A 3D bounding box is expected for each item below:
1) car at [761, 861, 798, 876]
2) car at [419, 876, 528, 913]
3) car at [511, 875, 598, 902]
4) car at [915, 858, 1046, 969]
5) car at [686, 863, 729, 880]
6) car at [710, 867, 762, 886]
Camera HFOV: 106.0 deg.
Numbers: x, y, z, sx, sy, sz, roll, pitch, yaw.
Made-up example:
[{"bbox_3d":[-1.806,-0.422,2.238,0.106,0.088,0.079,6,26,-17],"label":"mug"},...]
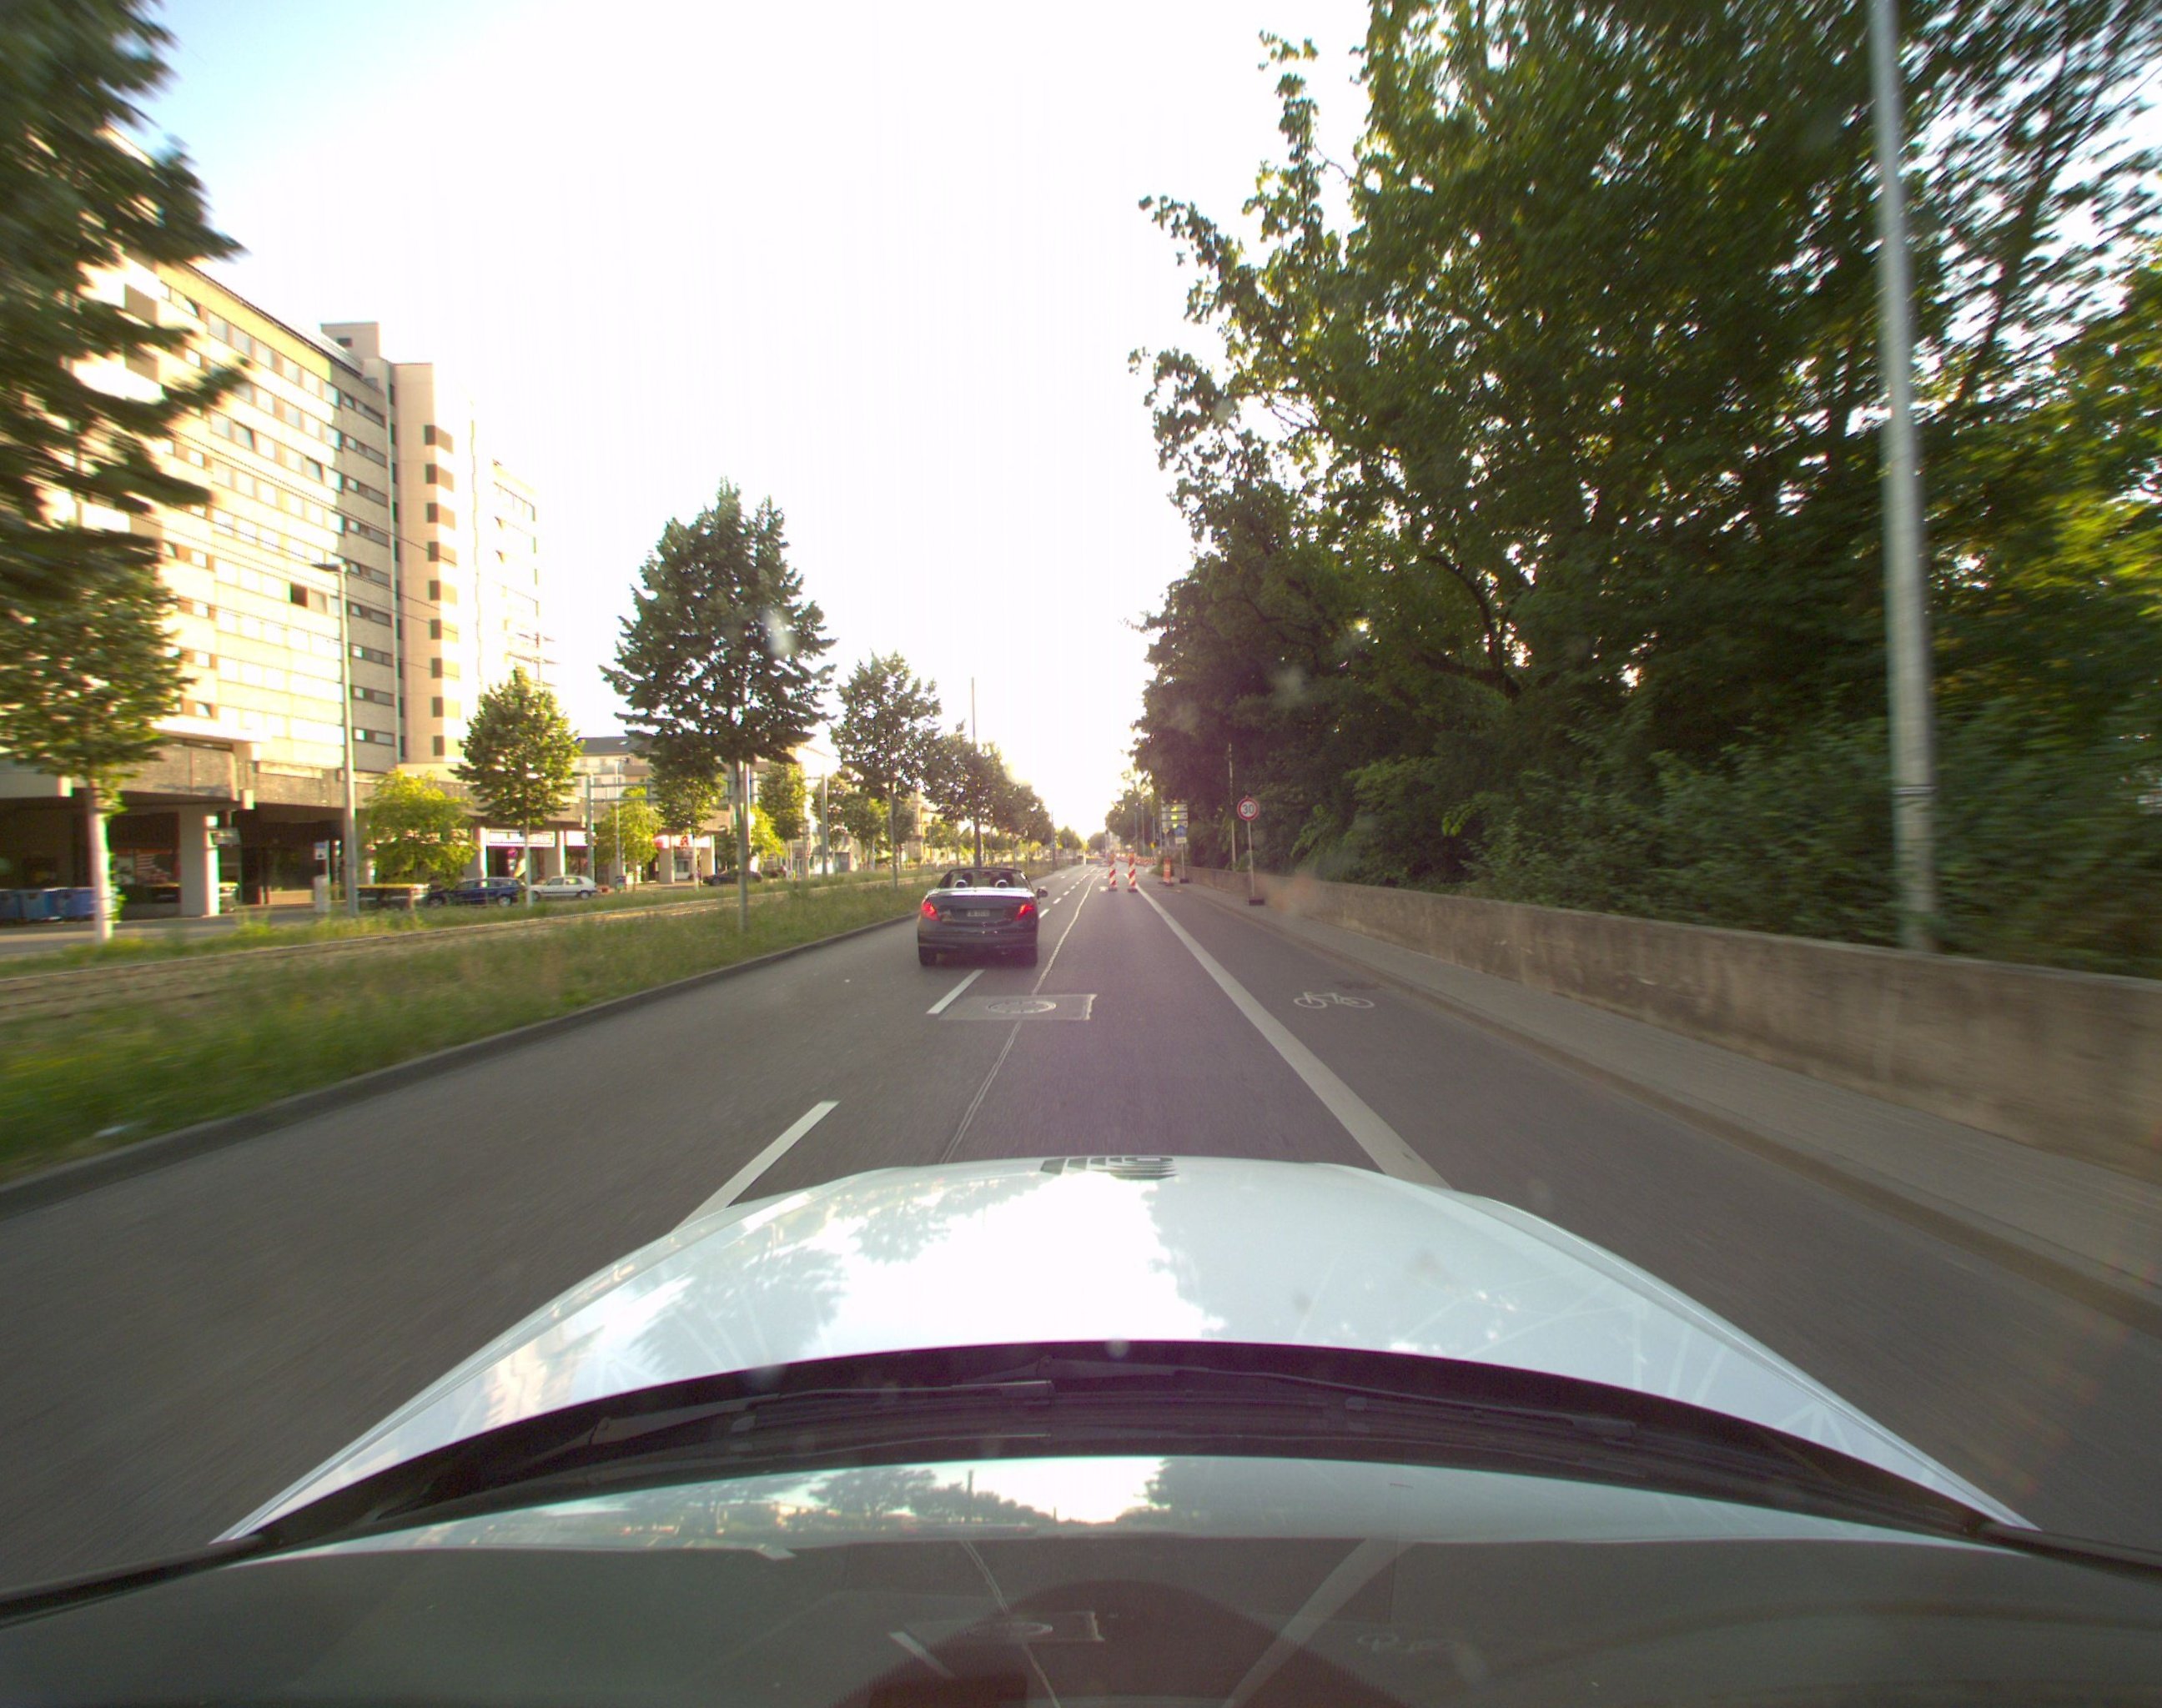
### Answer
[{"bbox_3d":[-39.192,1.887,106.007,3.920,1.845,2.192,-2,0,0],"label":"car"},{"bbox_3d":[-30.565,2.000,41.048,4.306,1.590,1.986,-1,-1,-38],"label":"car"},{"bbox_3d":[-30.645,1.967,47.433,4.150,1.436,1.805,0,0,-37],"label":"car"},{"bbox_3d":[-1.481,0.807,12.803,1.716,1.449,3.895,1,0,-5],"label":"car"},{"bbox_3d":[-47.824,2.180,104.238,4.315,1.769,2.166,-4,1,0],"label":"car"},{"bbox_3d":[-29.342,1.915,69.304,3.750,1.450,1.723,-2,-1,-41],"label":"car"}]
